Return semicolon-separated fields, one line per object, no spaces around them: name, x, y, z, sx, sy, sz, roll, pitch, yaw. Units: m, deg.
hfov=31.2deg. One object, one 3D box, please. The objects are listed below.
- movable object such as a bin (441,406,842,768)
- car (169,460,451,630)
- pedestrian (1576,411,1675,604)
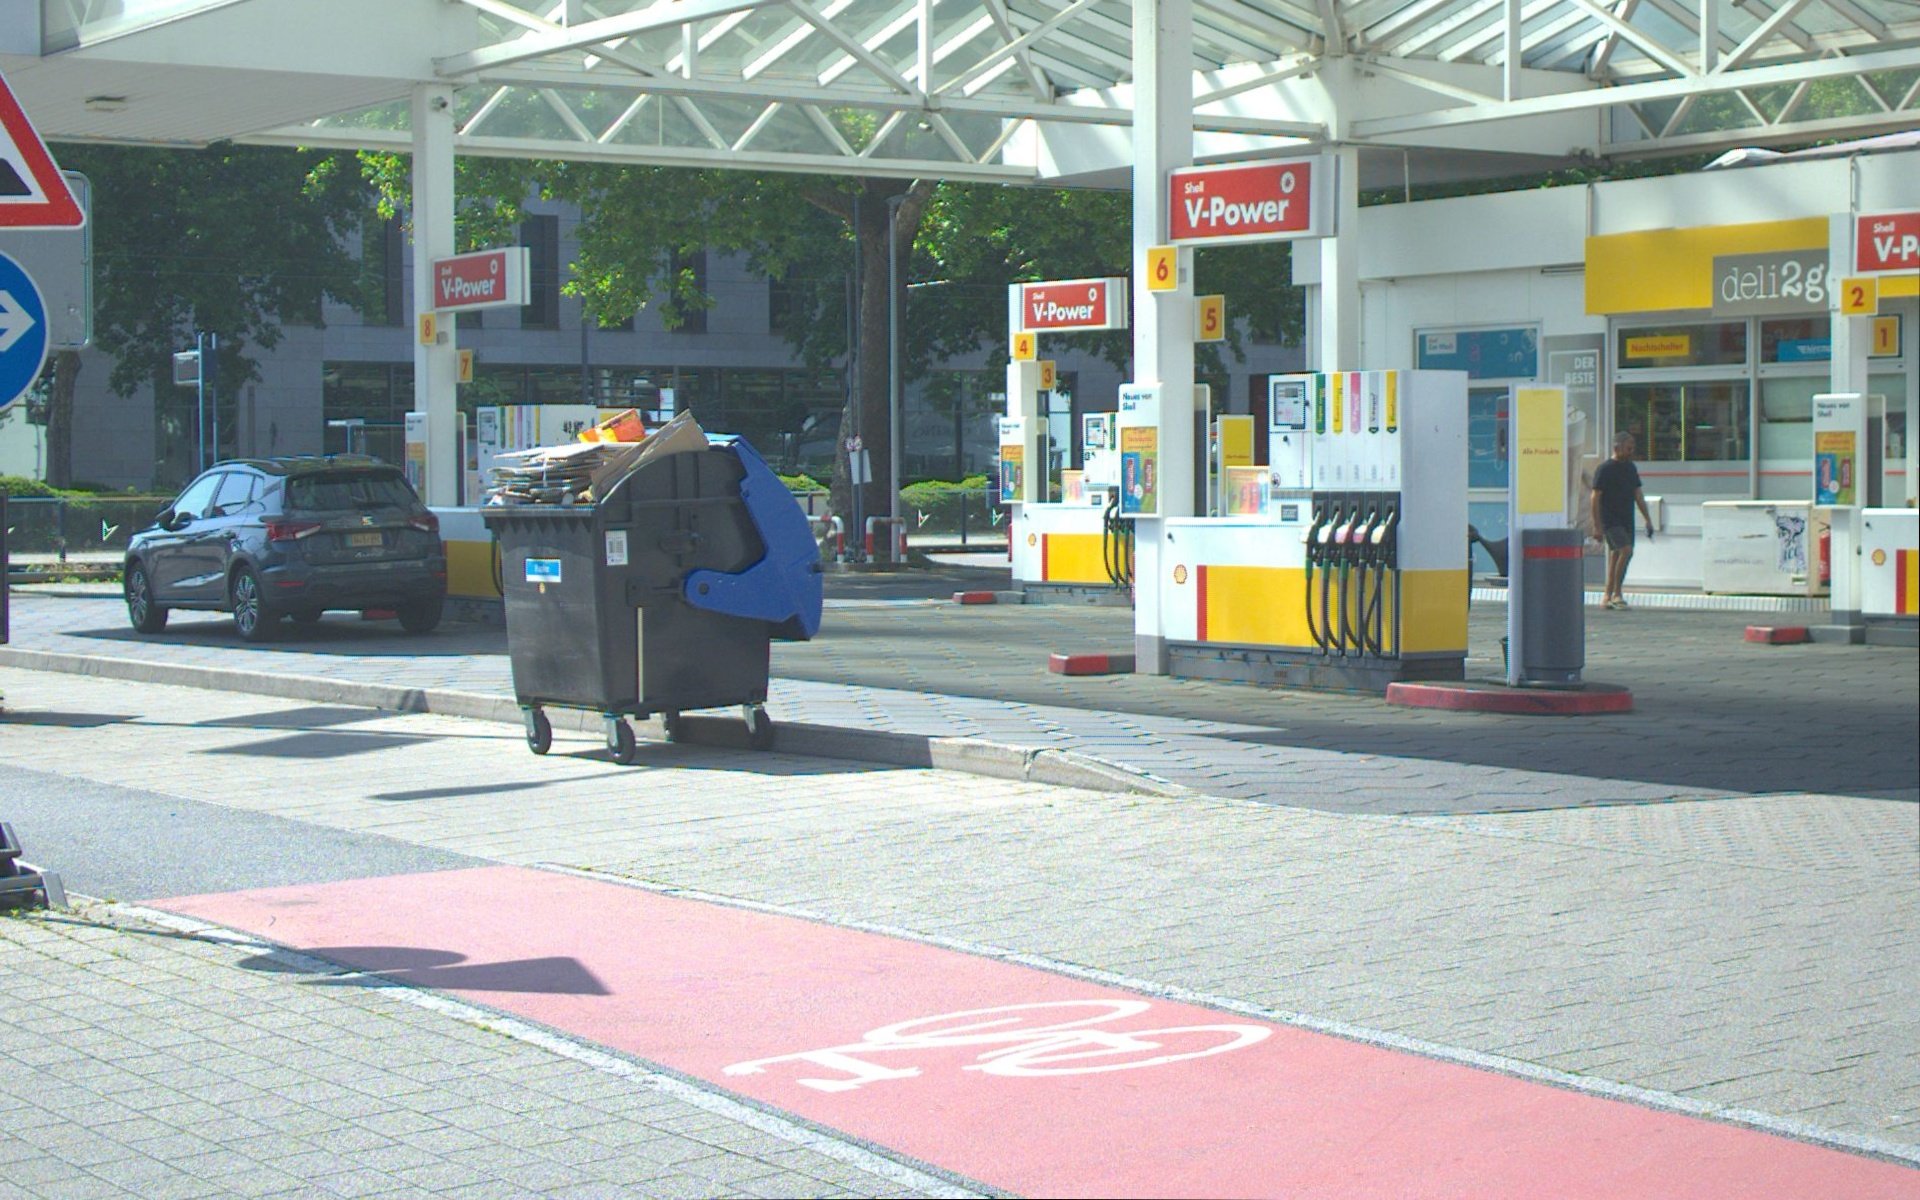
movable object such as a bin;-1.528;-0.095;16.425;1.308;1.586;1.395;-5;4;-37
car;-5.769;-0.512;30.235;1.650;1.393;3.642;-1;2;-24
pedestrian;6.333;-0.884;32.722;0.673;1.815;0.631;-1;2;-28
